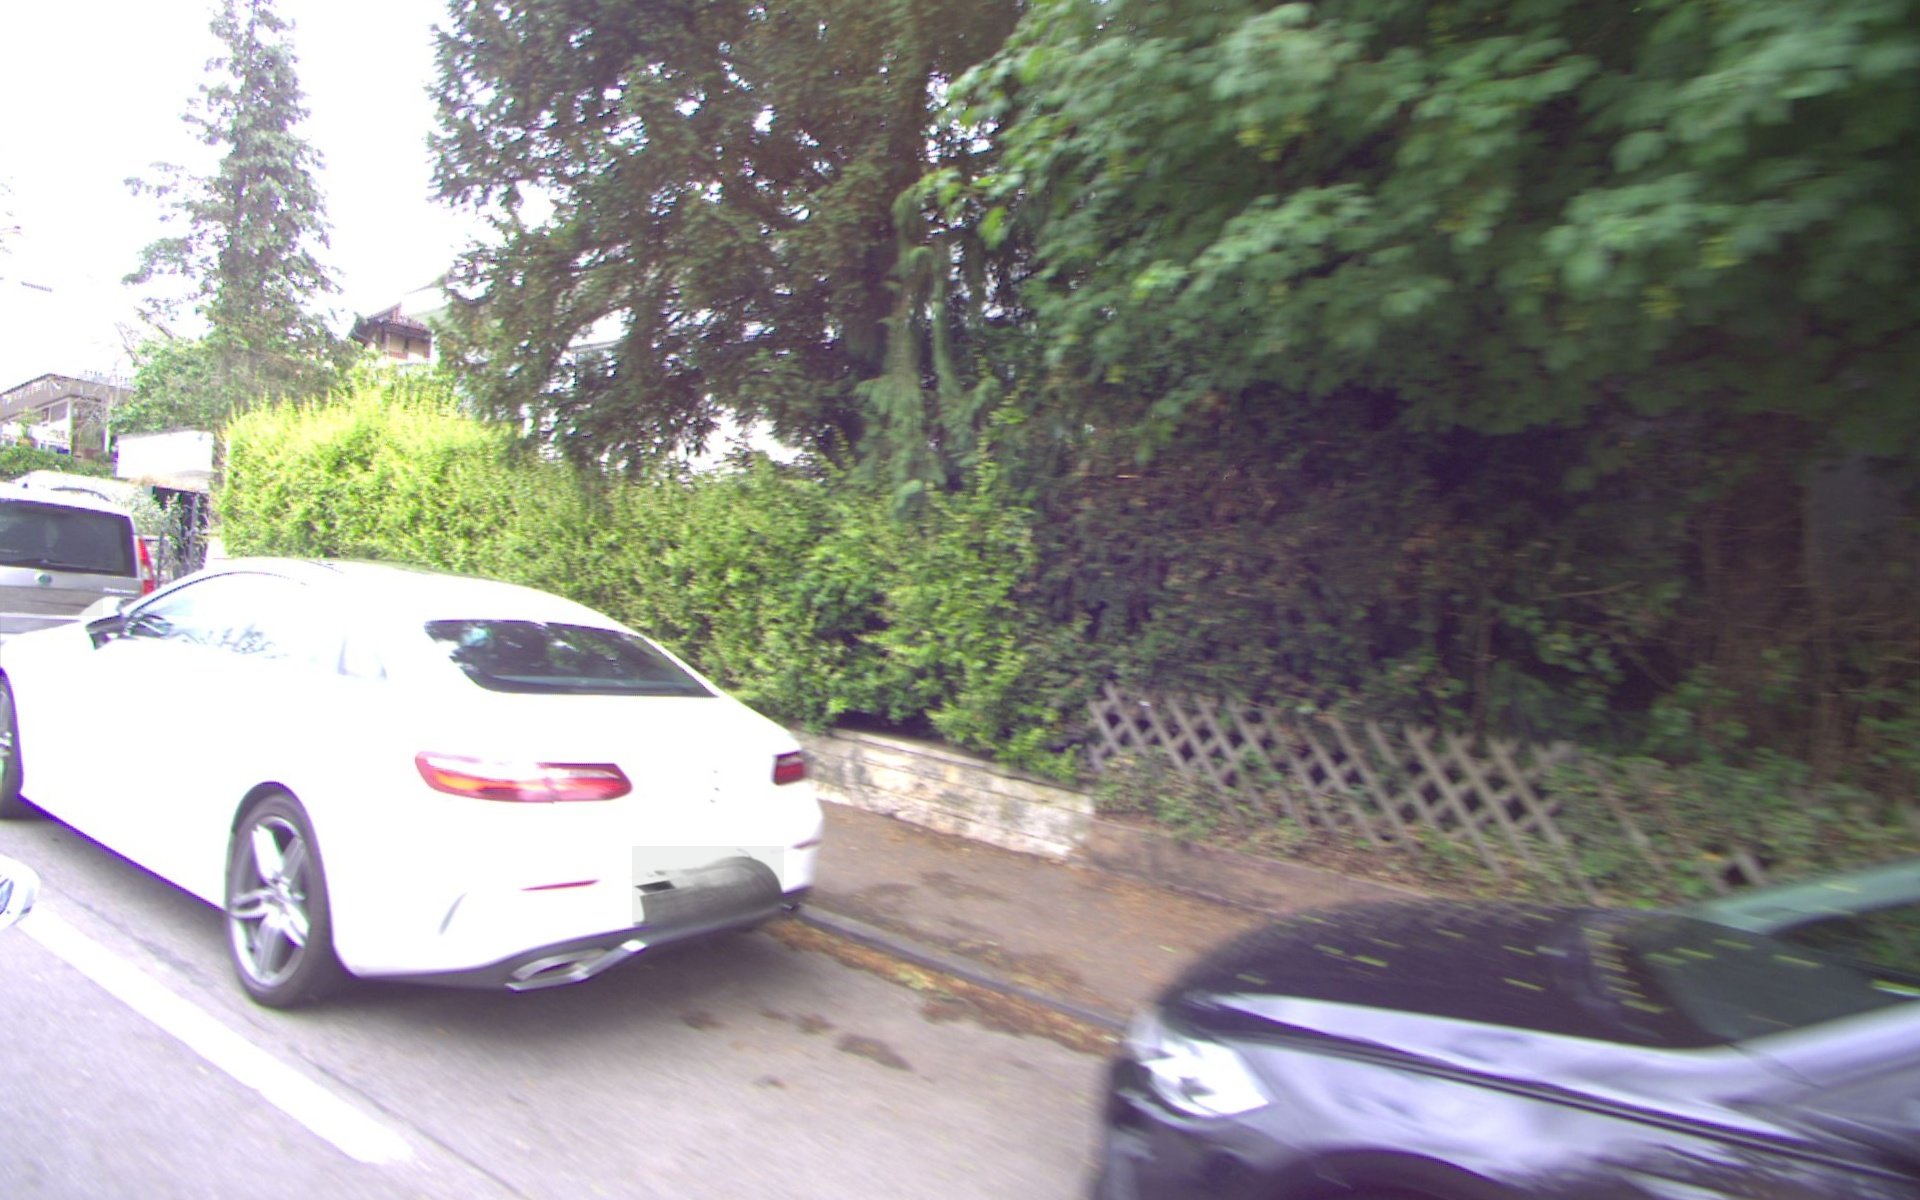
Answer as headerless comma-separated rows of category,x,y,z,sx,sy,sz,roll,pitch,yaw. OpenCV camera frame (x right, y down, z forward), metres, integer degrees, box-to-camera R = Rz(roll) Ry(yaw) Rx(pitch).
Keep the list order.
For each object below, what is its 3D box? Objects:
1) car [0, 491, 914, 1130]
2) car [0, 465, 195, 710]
car,-2.855,0.440,4.769,4.922,1.510,1.995,7,1,33
car,-8.037,-0.242,8.000,3.864,1.651,1.720,6,-2,32
